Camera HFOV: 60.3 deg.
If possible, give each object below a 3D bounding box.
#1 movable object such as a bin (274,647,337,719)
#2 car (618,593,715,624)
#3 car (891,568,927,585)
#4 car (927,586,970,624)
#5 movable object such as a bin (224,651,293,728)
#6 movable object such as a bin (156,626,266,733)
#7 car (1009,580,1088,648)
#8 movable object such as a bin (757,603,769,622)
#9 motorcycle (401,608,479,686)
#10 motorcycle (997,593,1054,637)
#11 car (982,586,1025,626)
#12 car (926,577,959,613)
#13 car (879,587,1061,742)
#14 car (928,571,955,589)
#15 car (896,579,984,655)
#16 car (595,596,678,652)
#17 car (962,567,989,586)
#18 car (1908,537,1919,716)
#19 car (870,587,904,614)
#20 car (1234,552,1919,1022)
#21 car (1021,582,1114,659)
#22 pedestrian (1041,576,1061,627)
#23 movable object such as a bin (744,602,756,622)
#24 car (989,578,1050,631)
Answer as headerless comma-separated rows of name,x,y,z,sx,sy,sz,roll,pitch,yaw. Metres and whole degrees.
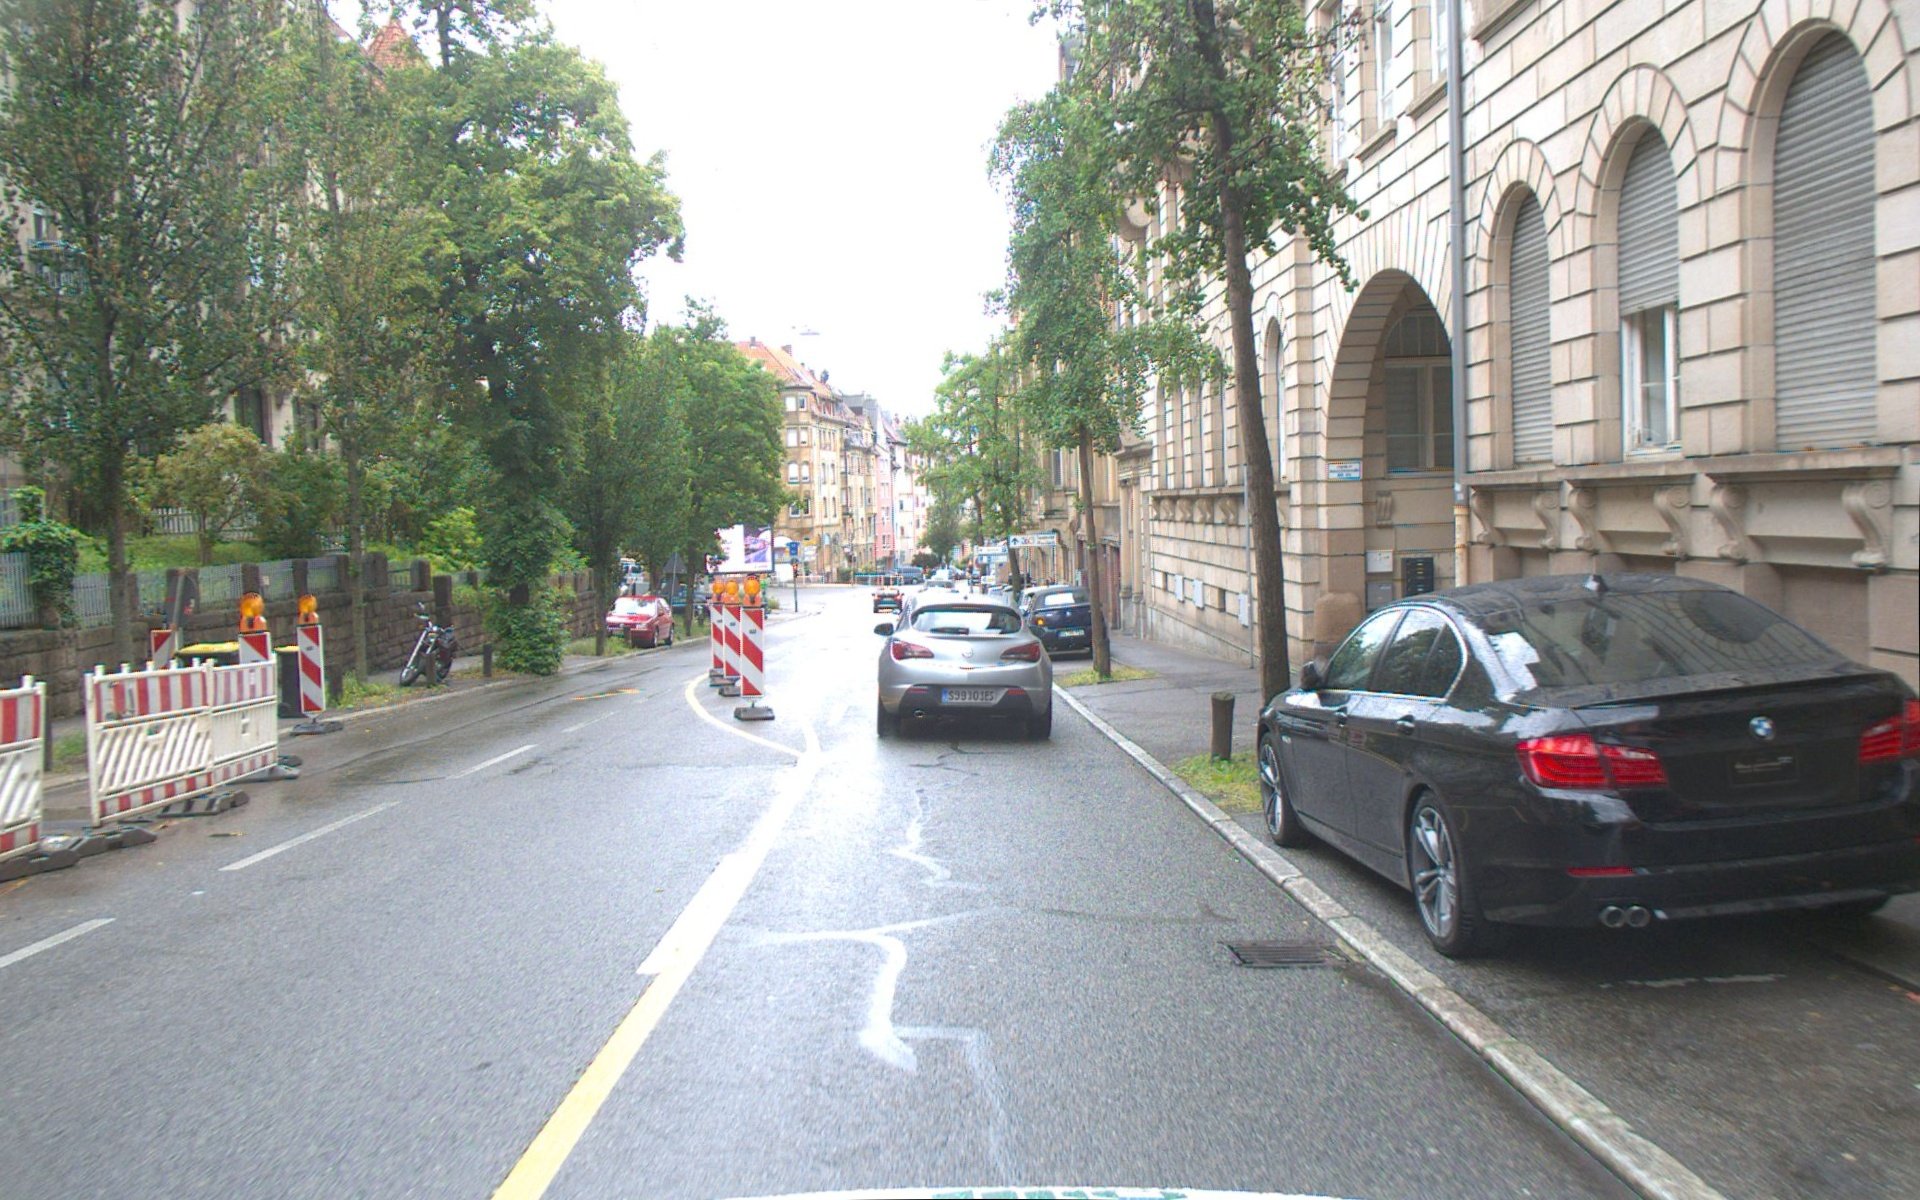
movable object such as a bin,-8.812,1.114,22.291,0.591,0.923,0.624,0,1,0
car,-13.662,0.365,77.025,4.247,1.265,1.633,-2,1,-20
car,-5.646,-2.617,183.163,3.906,1.780,2.000,1,0,-1
car,-0.546,0.199,73.917,1.624,1.569,3.663,-3,0,-3
movable object such as a bin,-8.857,1.126,20.894,0.591,0.923,0.624,0,1,0
movable object such as a bin,-9.004,0.944,19.910,0.925,1.235,0.856,0,1,0
car,2.090,0.304,39.781,1.604,1.494,3.857,-2,1,-1
movable object such as a bin,-11.008,0.690,92.338,0.646,1.077,0.626,1,0,-9
motorcycle,-9.443,0.831,30.103,0.750,1.369,2.202,0,0,-1
motorcycle,1.921,0.445,48.230,0.645,1.257,1.973,0,-1,38
car,1.791,0.222,69.373,1.604,1.551,3.857,-2,1,-1
car,-0.911,-0.283,85.809,1.623,1.813,3.665,-1,0,-1
car,0.039,0.612,18.111,1.775,1.475,3.868,0,1,-2
car,-1.741,-1.923,159.311,1.951,1.713,4.003,1,0,9
car,-0.486,0.318,35.841,1.737,1.530,3.867,0,1,-3
car,-9.415,0.660,48.413,1.604,1.464,4.079,-2,1,-1
car,1.518,-2.274,158.824,1.951,1.713,4.003,1,0,9
car,2.837,0.601,1.814,1.606,1.546,3.182,-4,1,-2
car,-4.434,0.023,101.081,1.953,1.527,3.999,-1,0,-1
car,2.706,0.607,8.042,1.722,1.486,4.722,-4,1,-2
car,2.203,0.389,34.670,1.604,1.454,3.376,-2,1,-2
pedestrian,3.430,0.062,62.643,0.701,1.903,0.635,0,-1,-1
movable object such as a bin,-11.566,0.656,91.229,0.613,1.077,0.719,1,0,-7
car,1.927,0.110,54.613,1.605,1.630,3.855,-2,1,-3
